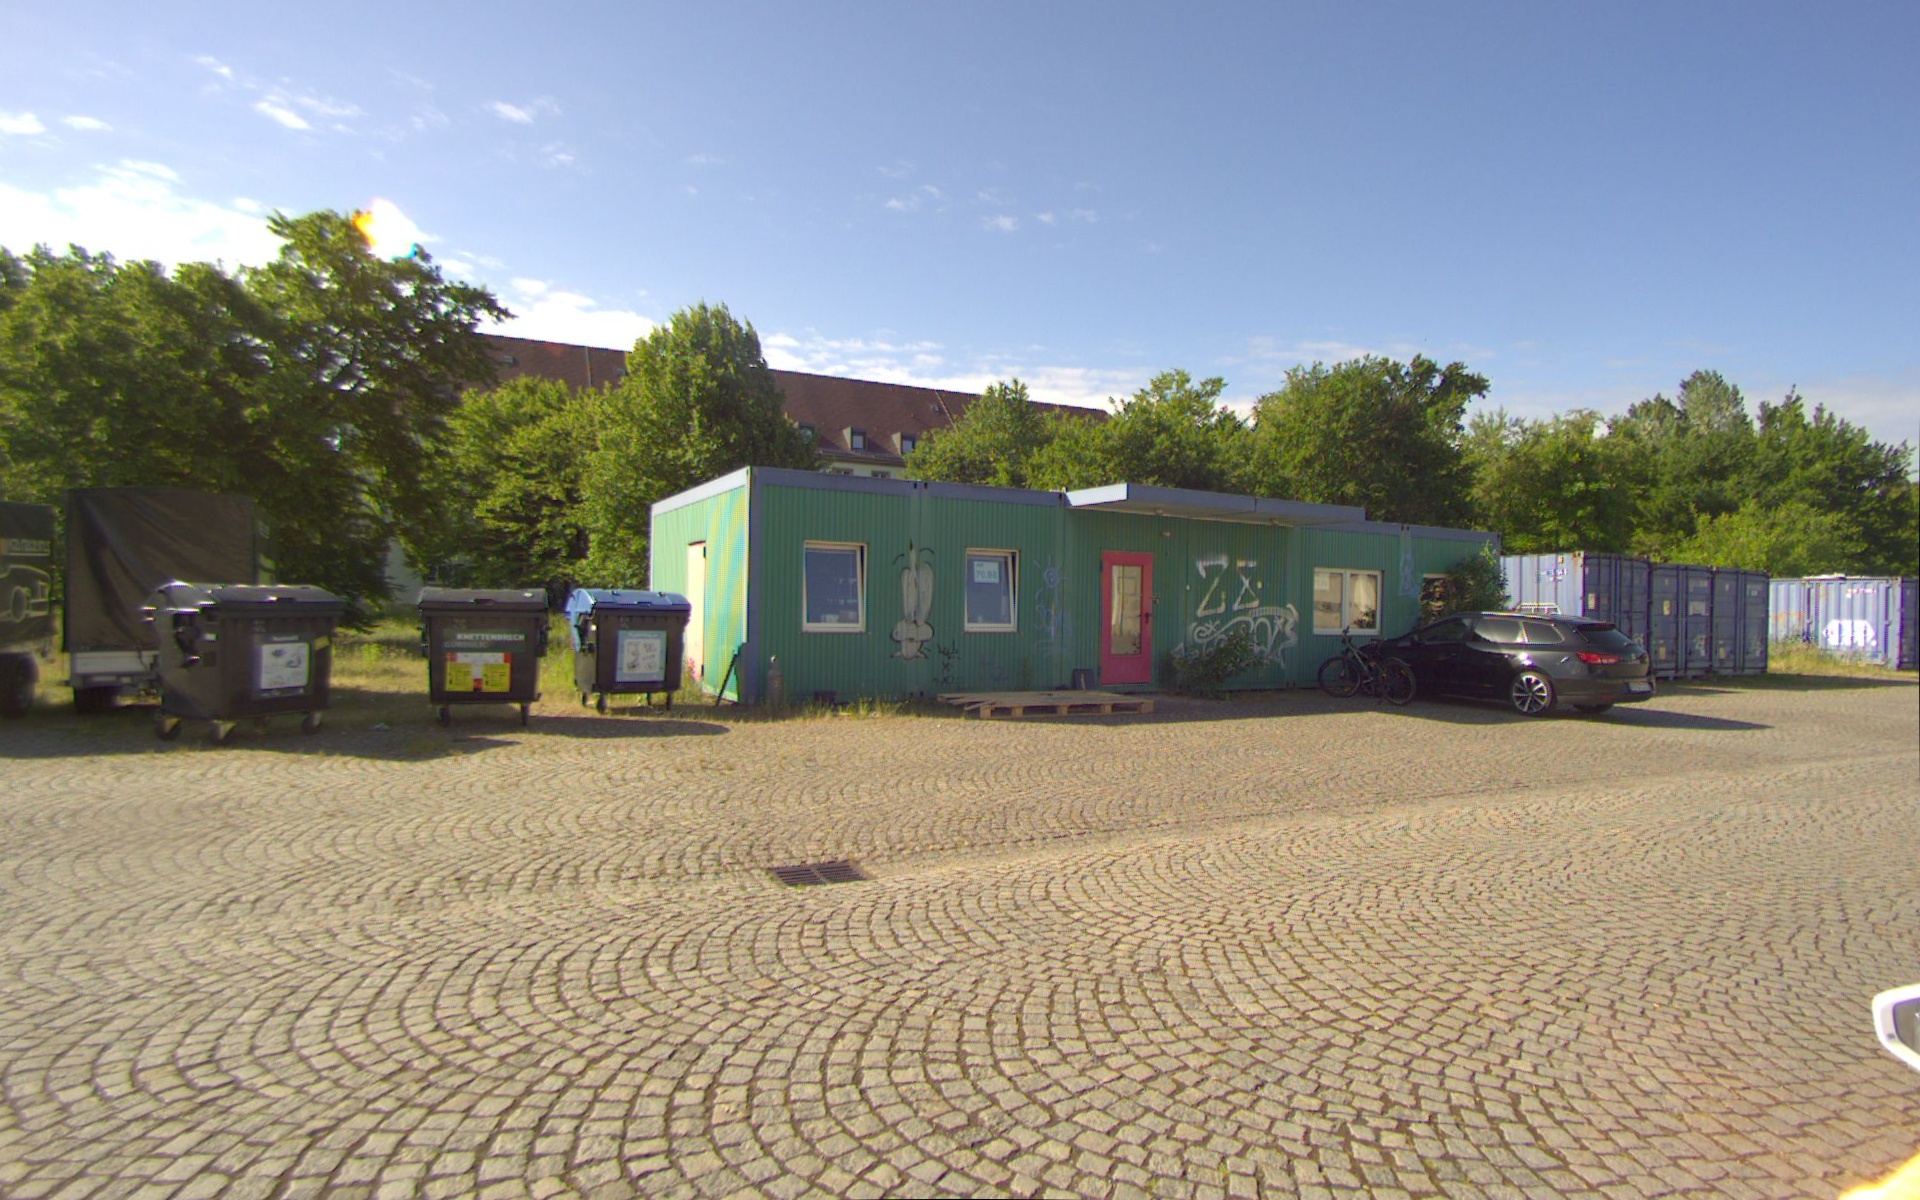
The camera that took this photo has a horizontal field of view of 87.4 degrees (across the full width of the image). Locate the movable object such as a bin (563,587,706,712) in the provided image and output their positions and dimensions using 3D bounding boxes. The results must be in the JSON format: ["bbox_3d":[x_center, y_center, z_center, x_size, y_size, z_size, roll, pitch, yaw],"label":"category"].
[{"bbox_3d":[-4.052,0.588,12.498,1.396,1.456,1.076,1,-1,-38],"label":"movable object such as a bin"}]

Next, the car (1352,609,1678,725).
[{"bbox_3d":[8.268,0.910,15.335,1.712,1.432,4.028,1,0,-31],"label":"car"}]

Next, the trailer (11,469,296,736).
[{"bbox_3d":[-9.036,0.008,11.701,1.921,2.423,4.814,1,0,-31],"label":"trailer"}]

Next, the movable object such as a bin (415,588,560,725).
[{"bbox_3d":[-5.142,0.594,11.035,1.349,1.404,1.078,1,0,-23],"label":"movable object such as a bin"}]

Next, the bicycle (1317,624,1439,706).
[{"bbox_3d":[6.420,0.975,15.529,0.665,1.116,1.702,1,1,-26],"label":"bicycle"}]

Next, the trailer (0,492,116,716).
[{"bbox_3d":[-11.334,0.008,11.106,1.987,2.303,4.439,1,0,-26],"label":"trailer"}]

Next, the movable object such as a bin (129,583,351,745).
[{"bbox_3d":[-6.787,0.566,9.543,1.027,1.404,1.364,1,0,21],"label":"movable object such as a bin"}]
